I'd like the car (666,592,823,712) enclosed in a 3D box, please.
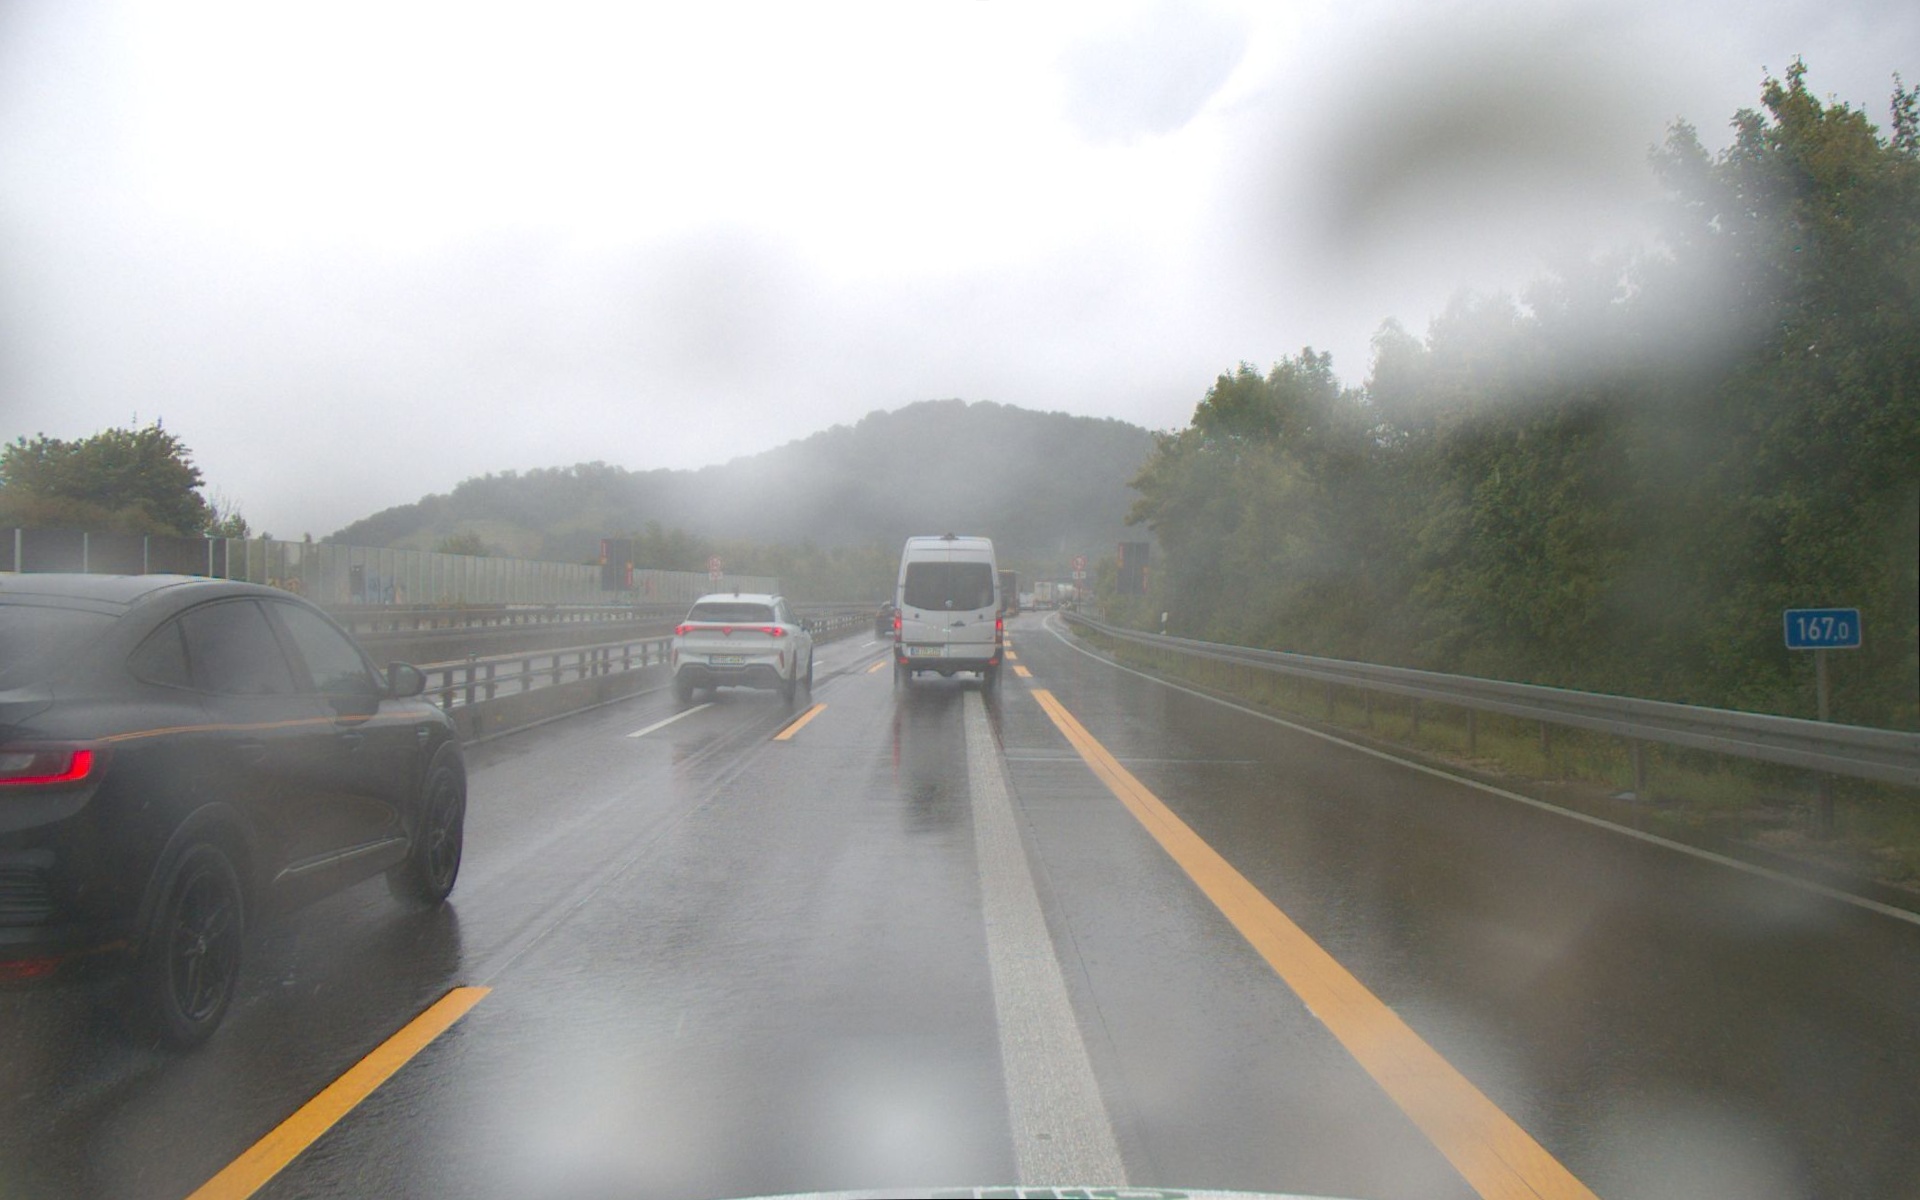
[{"bbox_3d":[-3.247,0.752,25.805,1.953,1.646,4.794,1,0,-2],"label":"car"}]

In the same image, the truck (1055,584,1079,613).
[{"bbox_3d":[17.131,-0.165,263.795,2.836,4.483,9.631,1,-1,9],"label":"truck"}]

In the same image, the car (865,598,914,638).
[{"bbox_3d":[-2.928,0.736,69.190,1.907,1.588,3.999,1,0,-1],"label":"car"}]

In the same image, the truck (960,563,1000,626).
[{"bbox_3d":[1.121,-0.235,89.132,1.952,3.163,8.499,1,0,1],"label":"truck"}]

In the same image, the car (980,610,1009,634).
[{"bbox_3d":[2.302,1.464,108.917,1.737,1.501,4.001,1,0,3],"label":"car"}]

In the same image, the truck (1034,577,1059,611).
[{"bbox_3d":[12.110,-0.798,231.396,2.972,4.483,9.630,1,-1,6],"label":"truck"}]

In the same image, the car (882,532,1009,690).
[{"bbox_3d":[-0.317,0.204,30.702,2.101,2.616,5.387,1,0,-2],"label":"car"}]

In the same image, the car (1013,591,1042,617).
[{"bbox_3d":[7.970,0.506,195.508,2.837,2.938,6.415,1,-1,7],"label":"car"}]

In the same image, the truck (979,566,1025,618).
[{"bbox_3d":[3.856,-0.677,148.980,3.506,4.483,9.628,1,-1,4],"label":"truck"}]

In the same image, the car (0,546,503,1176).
[{"bbox_3d":[-3.342,0.664,6.427,1.953,1.613,4.412,1,0,-1],"label":"car"}]
